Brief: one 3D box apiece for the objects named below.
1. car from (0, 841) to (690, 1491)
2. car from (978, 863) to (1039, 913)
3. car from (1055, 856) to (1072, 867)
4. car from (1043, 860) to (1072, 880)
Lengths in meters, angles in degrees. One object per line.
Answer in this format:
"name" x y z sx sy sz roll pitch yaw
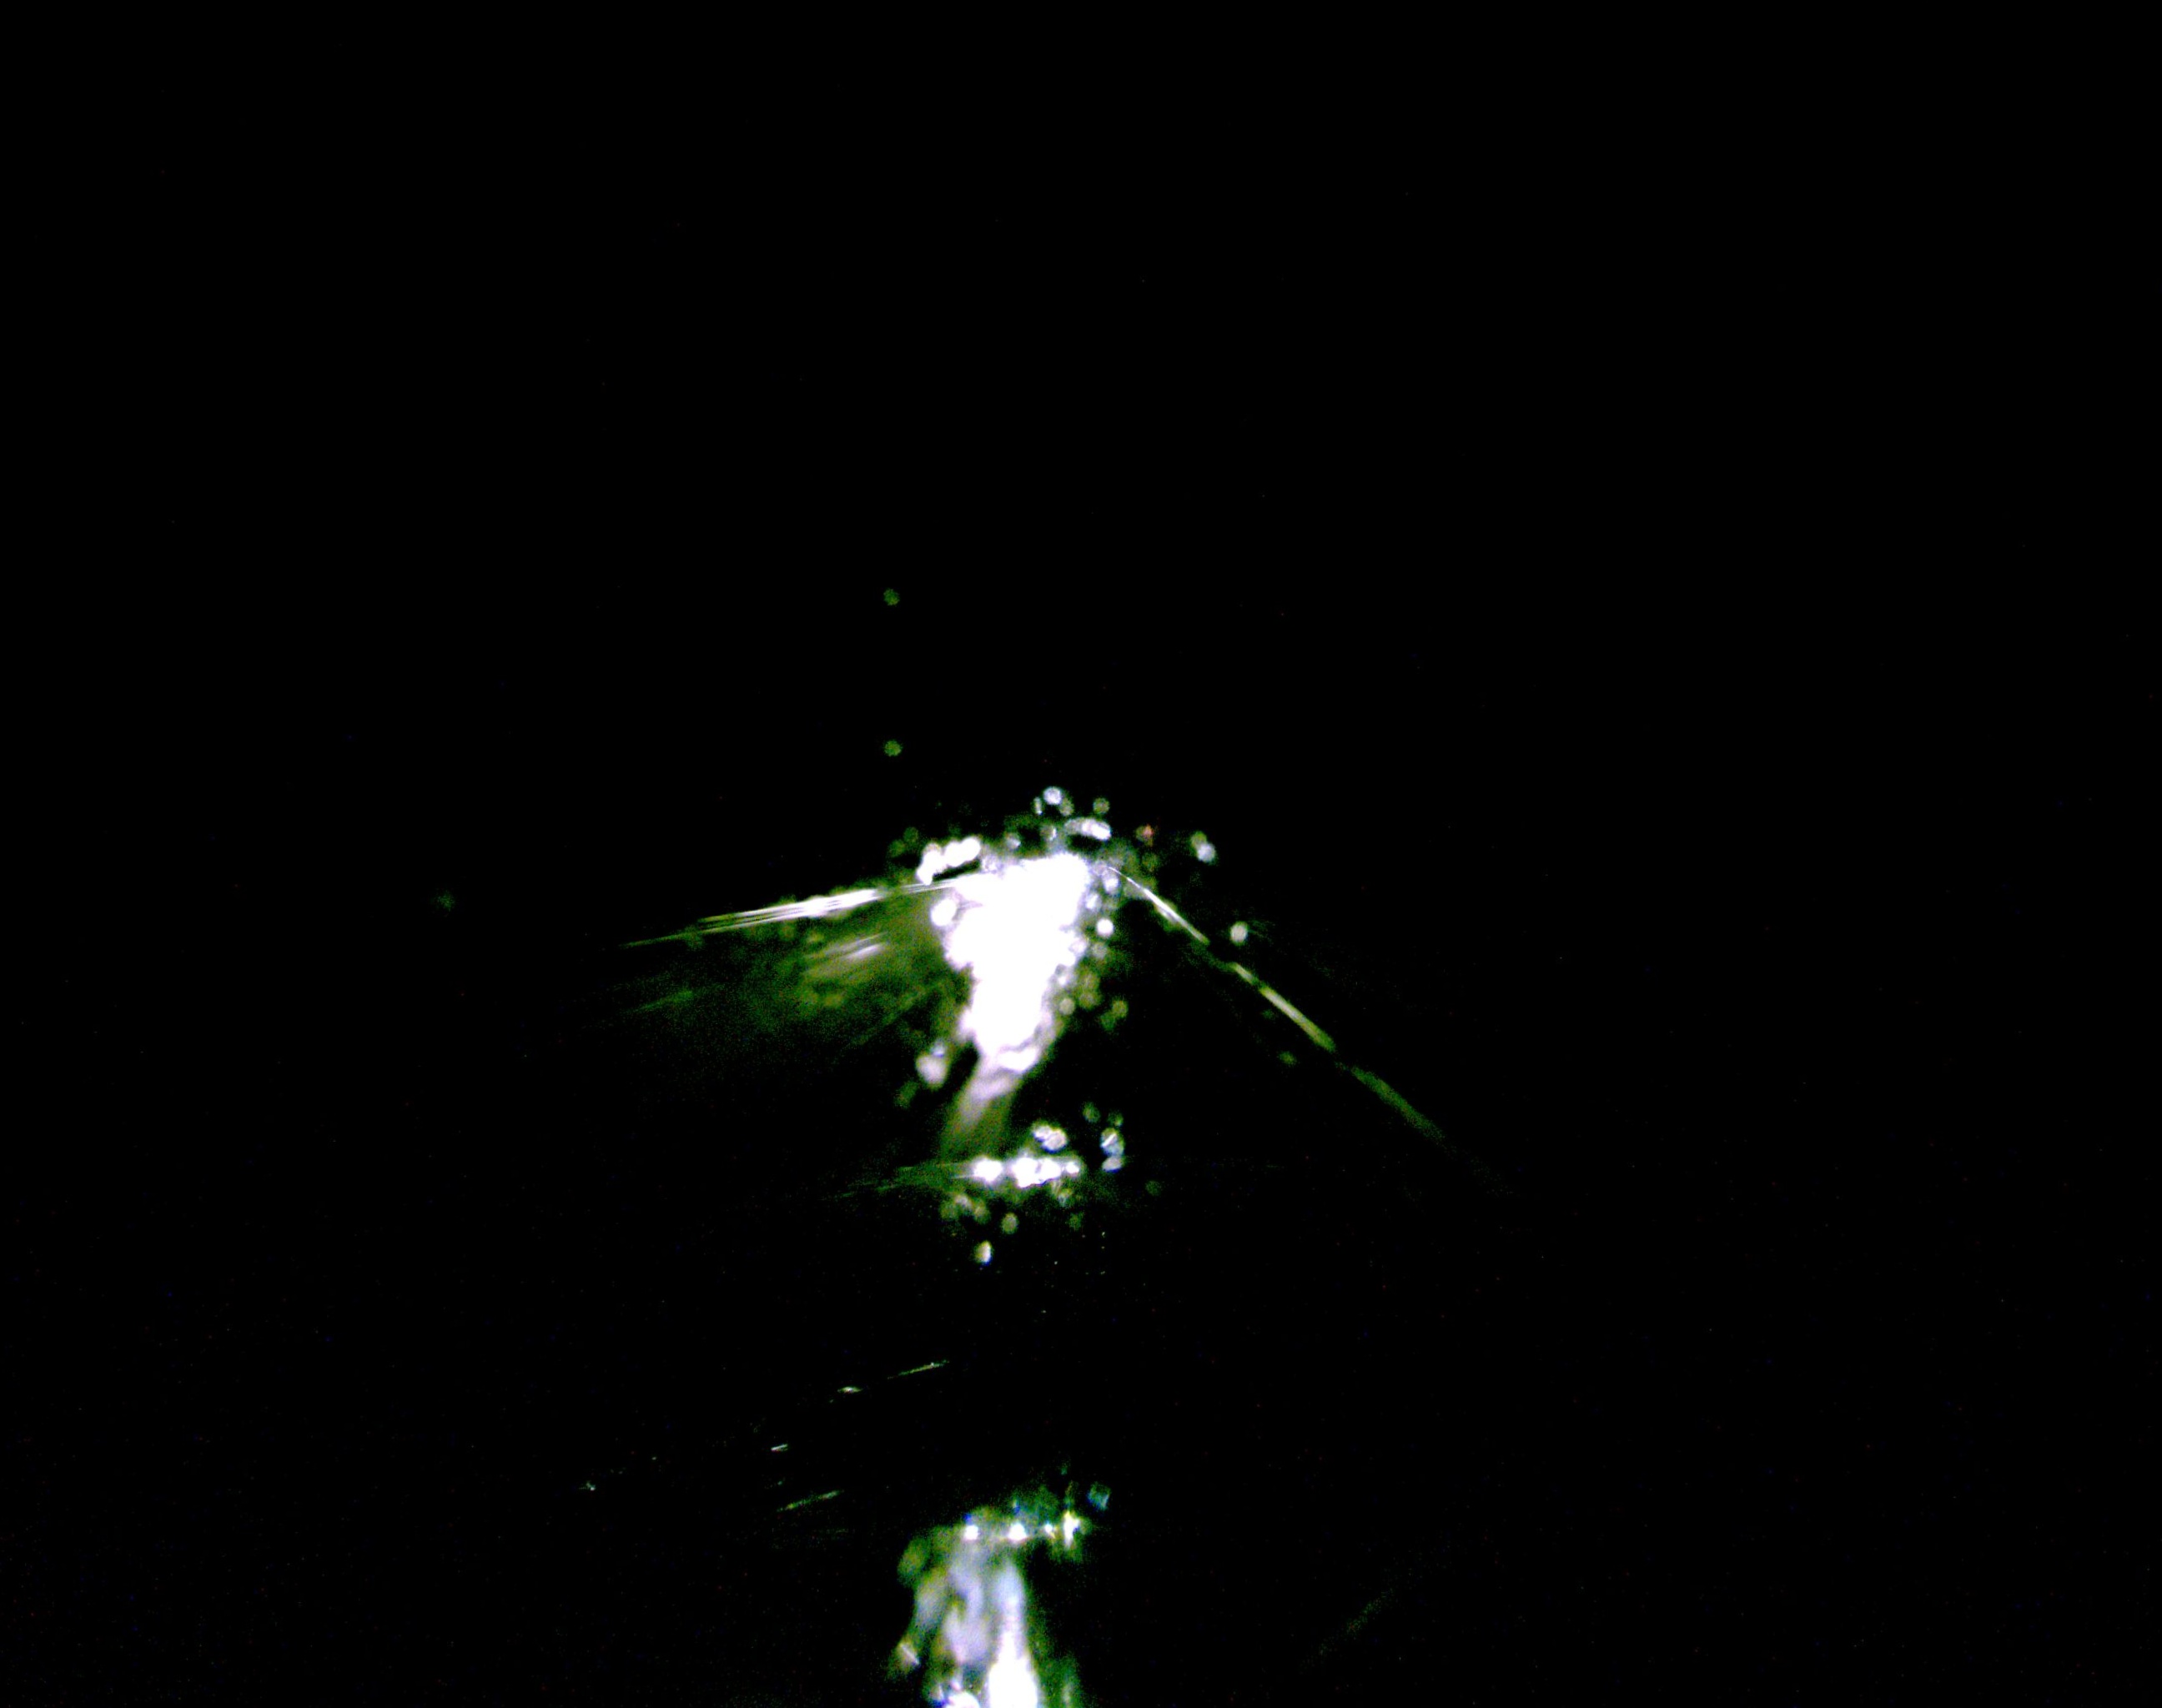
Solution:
"car" -3.488 0.767 2.986 1.823 1.554 4.443 -2 0 1
"car" -2.508 1.147 29.051 1.710 1.554 4.000 -2 0 0
"car" -2.456 1.129 115.109 1.966 1.462 4.287 -2 -1 5
"car" -1.812 1.306 64.779 1.986 1.497 4.358 -2 -1 2
